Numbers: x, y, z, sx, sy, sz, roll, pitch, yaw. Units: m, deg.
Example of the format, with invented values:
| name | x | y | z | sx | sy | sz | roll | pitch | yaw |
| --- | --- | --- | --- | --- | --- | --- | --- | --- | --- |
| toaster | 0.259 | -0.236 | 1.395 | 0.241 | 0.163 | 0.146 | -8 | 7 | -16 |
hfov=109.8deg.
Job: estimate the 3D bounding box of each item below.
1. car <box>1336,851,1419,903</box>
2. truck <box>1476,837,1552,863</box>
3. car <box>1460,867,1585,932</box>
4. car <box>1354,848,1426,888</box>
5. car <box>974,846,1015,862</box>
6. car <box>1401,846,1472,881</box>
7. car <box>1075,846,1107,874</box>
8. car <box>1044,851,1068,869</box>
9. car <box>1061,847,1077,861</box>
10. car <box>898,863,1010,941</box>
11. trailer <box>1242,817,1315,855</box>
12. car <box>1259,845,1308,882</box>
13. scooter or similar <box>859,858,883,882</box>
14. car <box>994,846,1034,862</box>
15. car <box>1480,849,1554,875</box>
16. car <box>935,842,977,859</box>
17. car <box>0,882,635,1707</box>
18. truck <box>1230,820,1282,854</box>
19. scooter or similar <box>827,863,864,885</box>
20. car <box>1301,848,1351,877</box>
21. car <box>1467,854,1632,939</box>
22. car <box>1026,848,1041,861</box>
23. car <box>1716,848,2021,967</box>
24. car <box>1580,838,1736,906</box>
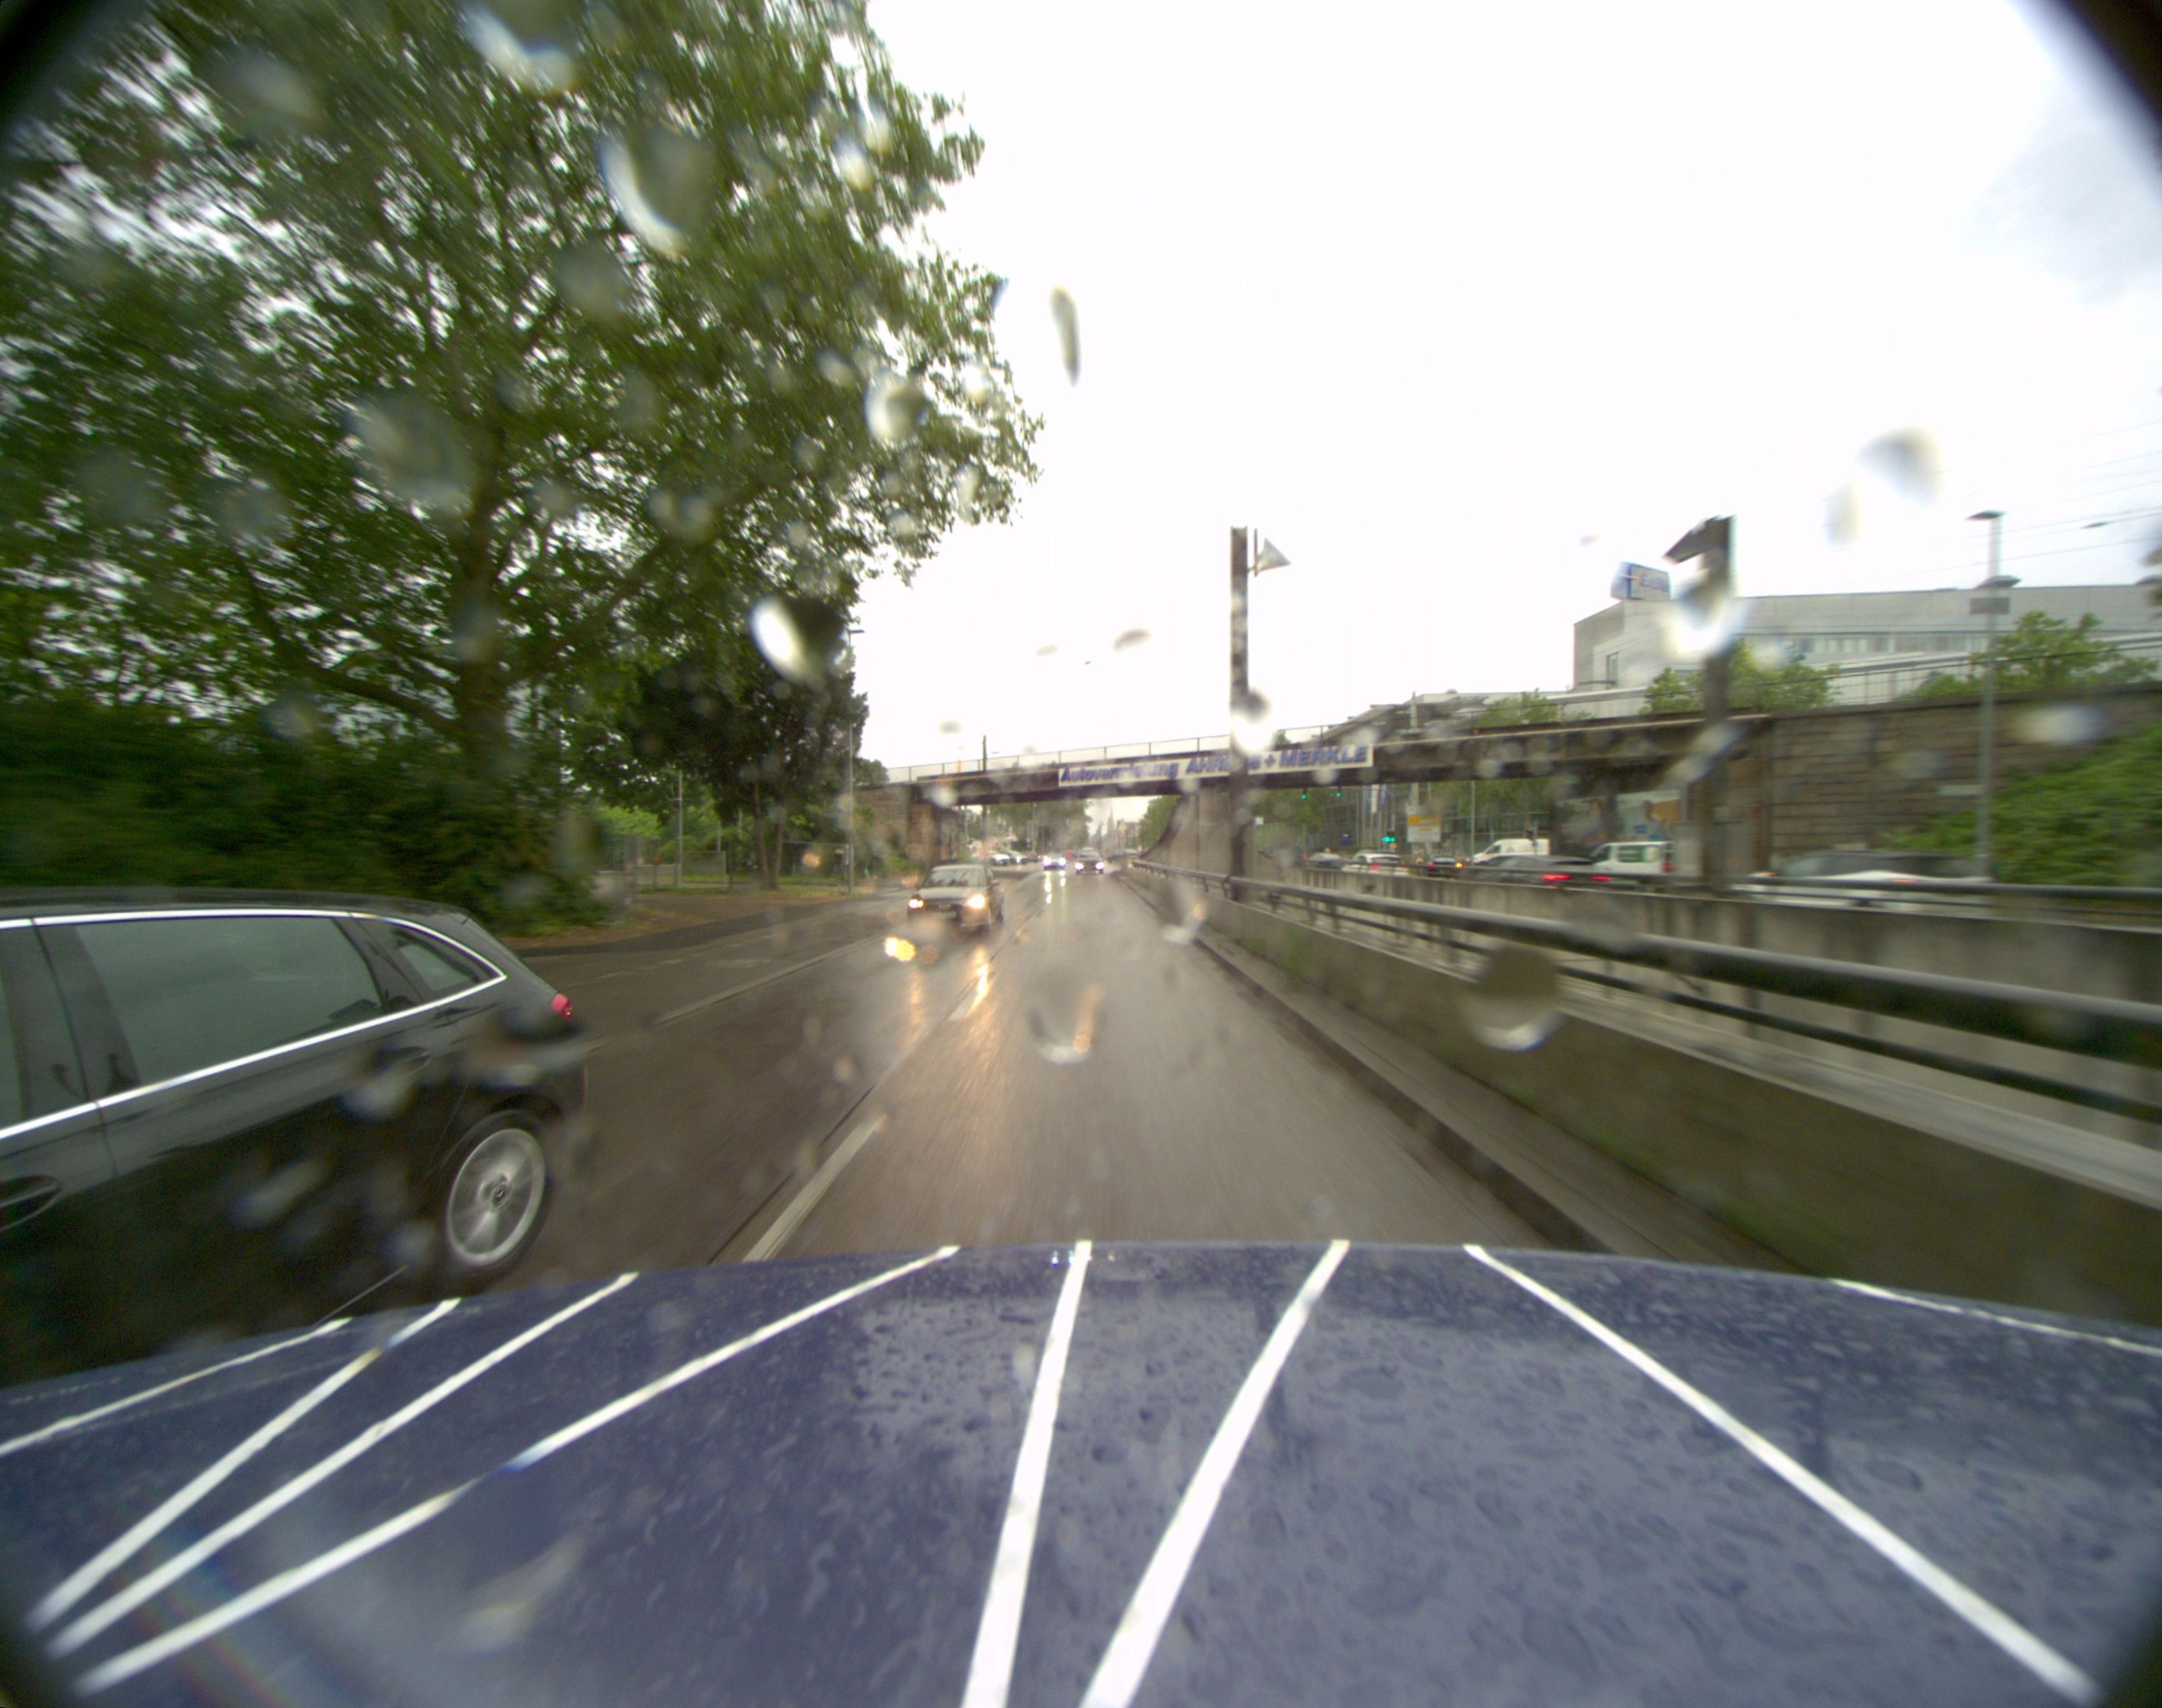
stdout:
| name | x | y | z | sx | sy | sz | roll | pitch | yaw |
| --- | --- | --- | --- | --- | --- | --- | --- | --- | --- |
| car | 12.632 | 0.929 | 32.659 | 1.998 | 2.002 | 4.000 | -2 | 1 | 0 |
| truck | 36.044 | -0.336 | 63.234 | 5.248 | 2.002 | 2.219 | -2 | 1 | 35 |
| car | 16.110 | 1.586 | 28.046 | 1.998 | 2.002 | 4.510 | -2 | 1 | 0 |
| car | 16.023 | 0.667 | 39.672 | 1.998 | 1.918 | 4.366 | -2 | 1 | 0 |
| car | -9.375 | 0.002 | 82.149 | 4.412 | 1.689 | 1.875 | -1 | 0 | 40 |
| car | 19.588 | 0.495 | 42.077 | 1.998 | 1.780 | 4.196 | -2 | 1 | 0 |
| car | 0.740 | 0.418 | 52.875 | 1.974 | 1.794 | 4.159 | -1 | 0 | 3 |
| car | -2.131 | 0.493 | 66.320 | 1.821 | 1.520 | 4.159 | -1 | 0 | 1 |
| car | -1.389 | 0.049 | 87.801 | 1.821 | 1.520 | 4.158 | -1 | 0 | 0 |
| car | -2.681 | 0.973 | 16.875 | 1.641 | 1.377 | 3.782 | -2 | 1 | 3 |
| trailer | 18.626 | -1.646 | 72.704 | 3.331 | 3.241 | 11.117 | -2 | 1 | -4 |
| car | 13.072 | 0.547 | 49.258 | 1.998 | 2.230 | 4.366 | -2 | 1 | 0 |
| scooter or similar | -10.750 | 0.787 | 38.963 | 0.453 | 1.152 | 1.828 | -2 | 1 | 8 |
| car | -7.477 | -0.031 | 84.460 | 3.987 | 1.689 | 1.874 | -1 | 0 | 27 |
| car | 28.859 | 0.515 | 50.320 | 4.200 | 1.540 | 1.997 | -2 | 1 | -20 |
| car | -12.961 | -0.362 | 78.911 | 4.158 | 1.689 | 1.869 | -1 | 0 | -7 |
| car | -2.972 | 1.026 | 1.334 | 1.821 | 1.521 | 4.418 | -2 | 3 | -2 |
| truck | 18.178 | -1.679 | 79.372 | 3.384 | 3.290 | 6.521 | -2 | 1 | -4 |
| scooter or similar | -11.533 | 0.978 | 37.186 | 0.452 | 1.004 | 1.742 | -1 | 1 | 38 |
| car | 16.273 | 0.553 | 50.665 | 1.998 | 1.780 | 4.196 | -2 | 1 | 0 |
| car | 12.572 | 1.044 | 20.731 | 1.998 | 2.002 | 4.000 | -2 | 1 | 0 |
| car | -5.914 | 0.053 | 95.767 | 1.821 | 1.520 | 4.157 | -1 | 0 | -3 |
| car | 15.475 | 0.923 | 15.319 | 1.998 | 2.002 | 4.000 | -2 | 1 | 0 |
| car | 19.141 | 0.535 | 25.485 | 1.998 | 2.002 | 4.196 | -2 | 1 | 0 |
